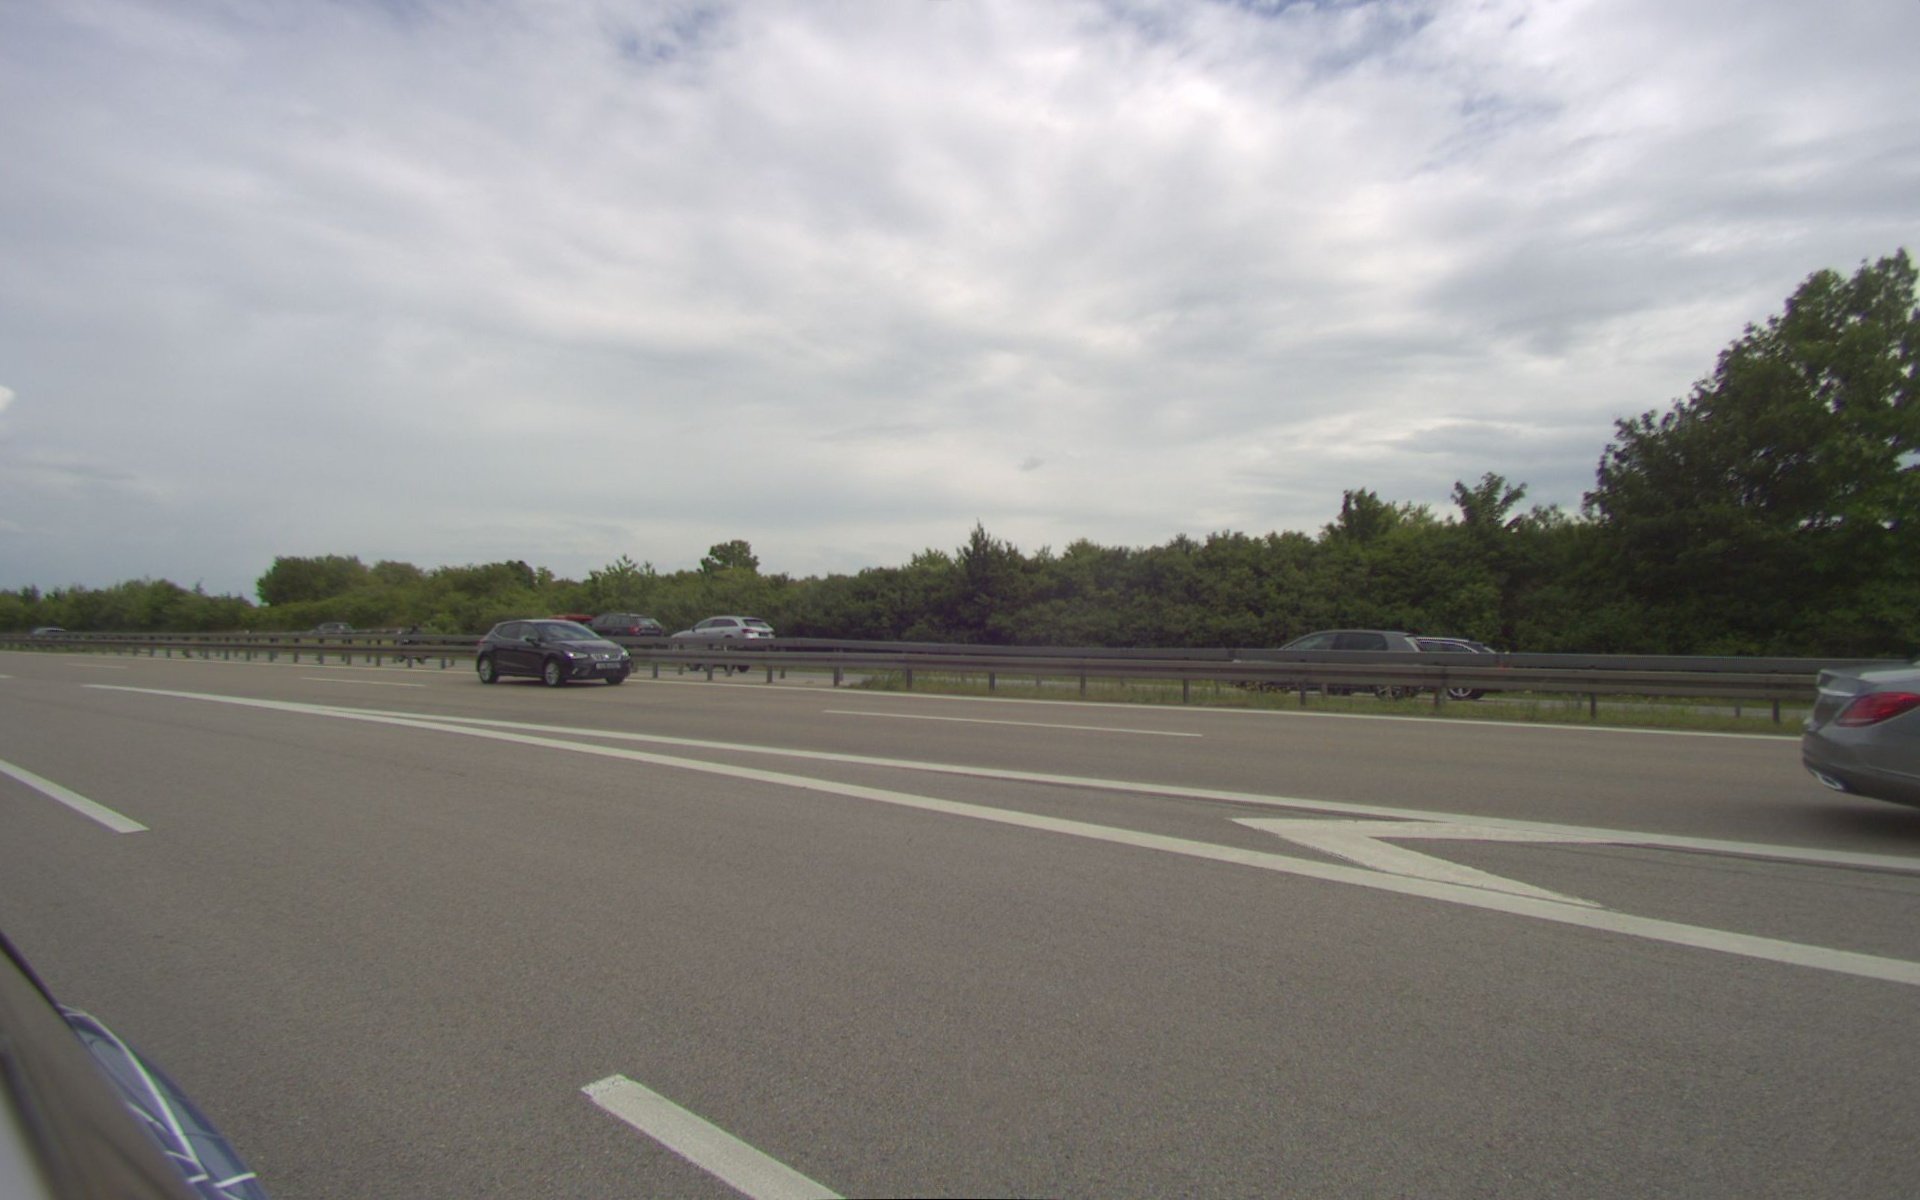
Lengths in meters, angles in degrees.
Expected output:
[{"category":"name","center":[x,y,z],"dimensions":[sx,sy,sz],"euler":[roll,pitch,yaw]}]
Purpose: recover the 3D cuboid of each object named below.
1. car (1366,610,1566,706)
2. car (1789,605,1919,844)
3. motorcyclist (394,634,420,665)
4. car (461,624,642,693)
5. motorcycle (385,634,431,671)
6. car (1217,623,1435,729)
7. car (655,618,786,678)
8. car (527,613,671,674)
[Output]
[{"category":"car","center":[11.787,1.270,23.614],"dimensions":[3.988,2.029,1.978],"euler":[-1,0,33]},{"category":"car","center":[7.635,0.721,5.622],"dimensions":[4.542,1.409,1.764],"euler":[-1,-2,36]},{"category":"motorcyclist","center":[-23.060,2.069,42.214],"dimensions":[0.821,1.262,0.652],"euler":[-1,0,35]},{"category":"car","center":[-9.185,1.248,22.627],"dimensions":[4.298,1.409,1.764],"euler":[-1,-2,36]},{"category":"motorcycle","center":[-23.023,2.160,42.192],"dimensions":[2.390,1.455,0.652],"euler":[-1,0,35]},{"category":"car","center":[7.720,1.523,21.430],"dimensions":[3.989,2.029,1.977],"euler":[-1,-2,34]},{"category":"car","center":[-9.084,1.762,38.293],"dimensions":[4.862,2.149,2.144],"euler":[-1,-2,34]},{"category":"car","center":[-15.153,1.778,42.274],"dimensions":[6.659,2.348,2.144],"euler":[-1,-2,34]}]
